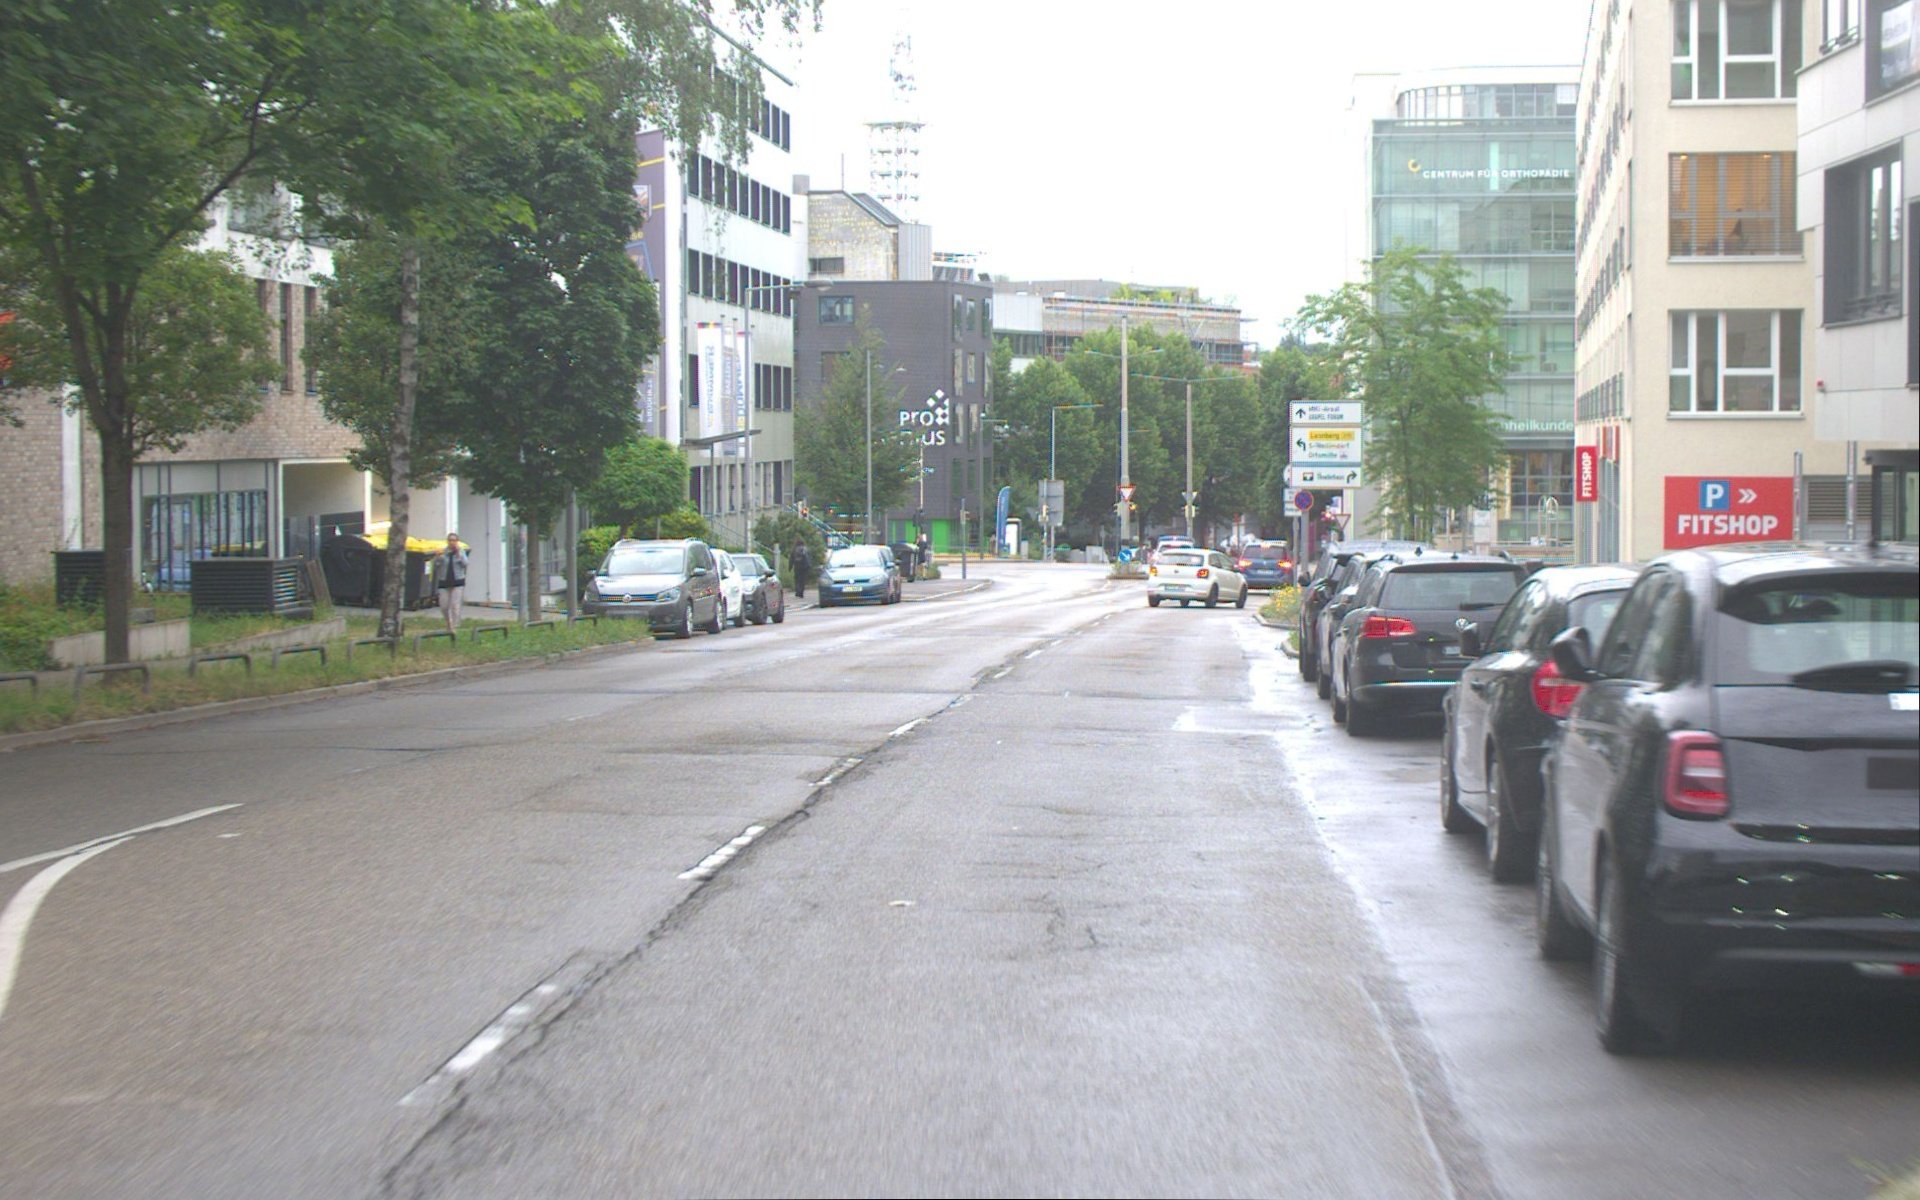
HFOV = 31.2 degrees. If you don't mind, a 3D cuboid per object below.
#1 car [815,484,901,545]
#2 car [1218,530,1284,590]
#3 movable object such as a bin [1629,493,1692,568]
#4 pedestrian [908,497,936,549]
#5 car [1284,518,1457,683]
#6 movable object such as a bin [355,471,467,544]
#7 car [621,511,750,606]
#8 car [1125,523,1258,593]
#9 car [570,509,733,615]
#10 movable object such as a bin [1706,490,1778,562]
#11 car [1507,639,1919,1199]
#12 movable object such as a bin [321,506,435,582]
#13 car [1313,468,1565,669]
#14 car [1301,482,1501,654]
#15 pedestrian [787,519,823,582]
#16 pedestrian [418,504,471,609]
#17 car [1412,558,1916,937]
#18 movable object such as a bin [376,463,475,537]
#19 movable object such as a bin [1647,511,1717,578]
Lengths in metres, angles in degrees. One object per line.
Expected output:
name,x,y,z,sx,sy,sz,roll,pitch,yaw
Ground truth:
car,-2.572,-2.184,87.677,1.914,1.476,4.357,1,2,2
car,9.081,-1.267,107.460,1.994,1.743,3.672,1,3,5
movable object such as a bin,14.252,-1.423,69.964,1.174,1.498,1.013,1,2,8
pedestrian,-1.460,-2.945,131.733,0.959,1.948,0.779,1,2,-7
car,4.854,-0.051,41.164,1.808,1.673,4.712,1,3,4
movable object such as a bin,-11.296,-1.916,70.832,2.054,1.418,1.317,2,2,1
car,-5.027,-0.791,63.492,1.773,1.595,4.032,1,3,4
car,5.797,-1.072,85.690,1.996,1.571,3.991,2,3,25
car,-5.171,-0.685,58.210,2.077,1.603,4.686,0,3,3
movable object such as a bin,15.604,-1.476,68.599,1.261,1.397,1.112,1,2,7
car,2.742,0.998,11.488,1.546,1.473,3.660,1,3,5
movable object such as a bin,-11.743,-1.146,69.452,2.027,1.424,1.290,2,2,1
car,4.045,-0.325,29.688,1.808,1.558,4.846,1,2,4
car,4.414,-0.371,34.949,1.749,1.599,4.373,1,2,4
pedestrian,-4.242,-1.352,93.931,0.728,1.702,0.904,0,1,-22
pedestrian,-8.402,-0.715,56.095,0.708,1.677,0.957,1,3,0
car,3.259,0.592,16.742,1.808,1.479,4.495,1,2,4
movable object such as a bin,-11.235,-2.120,72.313,1.795,1.505,1.482,-1,2,1
movable object such as a bin,14.239,-1.106,67.826,1.235,1.315,1.191,0,1,7
